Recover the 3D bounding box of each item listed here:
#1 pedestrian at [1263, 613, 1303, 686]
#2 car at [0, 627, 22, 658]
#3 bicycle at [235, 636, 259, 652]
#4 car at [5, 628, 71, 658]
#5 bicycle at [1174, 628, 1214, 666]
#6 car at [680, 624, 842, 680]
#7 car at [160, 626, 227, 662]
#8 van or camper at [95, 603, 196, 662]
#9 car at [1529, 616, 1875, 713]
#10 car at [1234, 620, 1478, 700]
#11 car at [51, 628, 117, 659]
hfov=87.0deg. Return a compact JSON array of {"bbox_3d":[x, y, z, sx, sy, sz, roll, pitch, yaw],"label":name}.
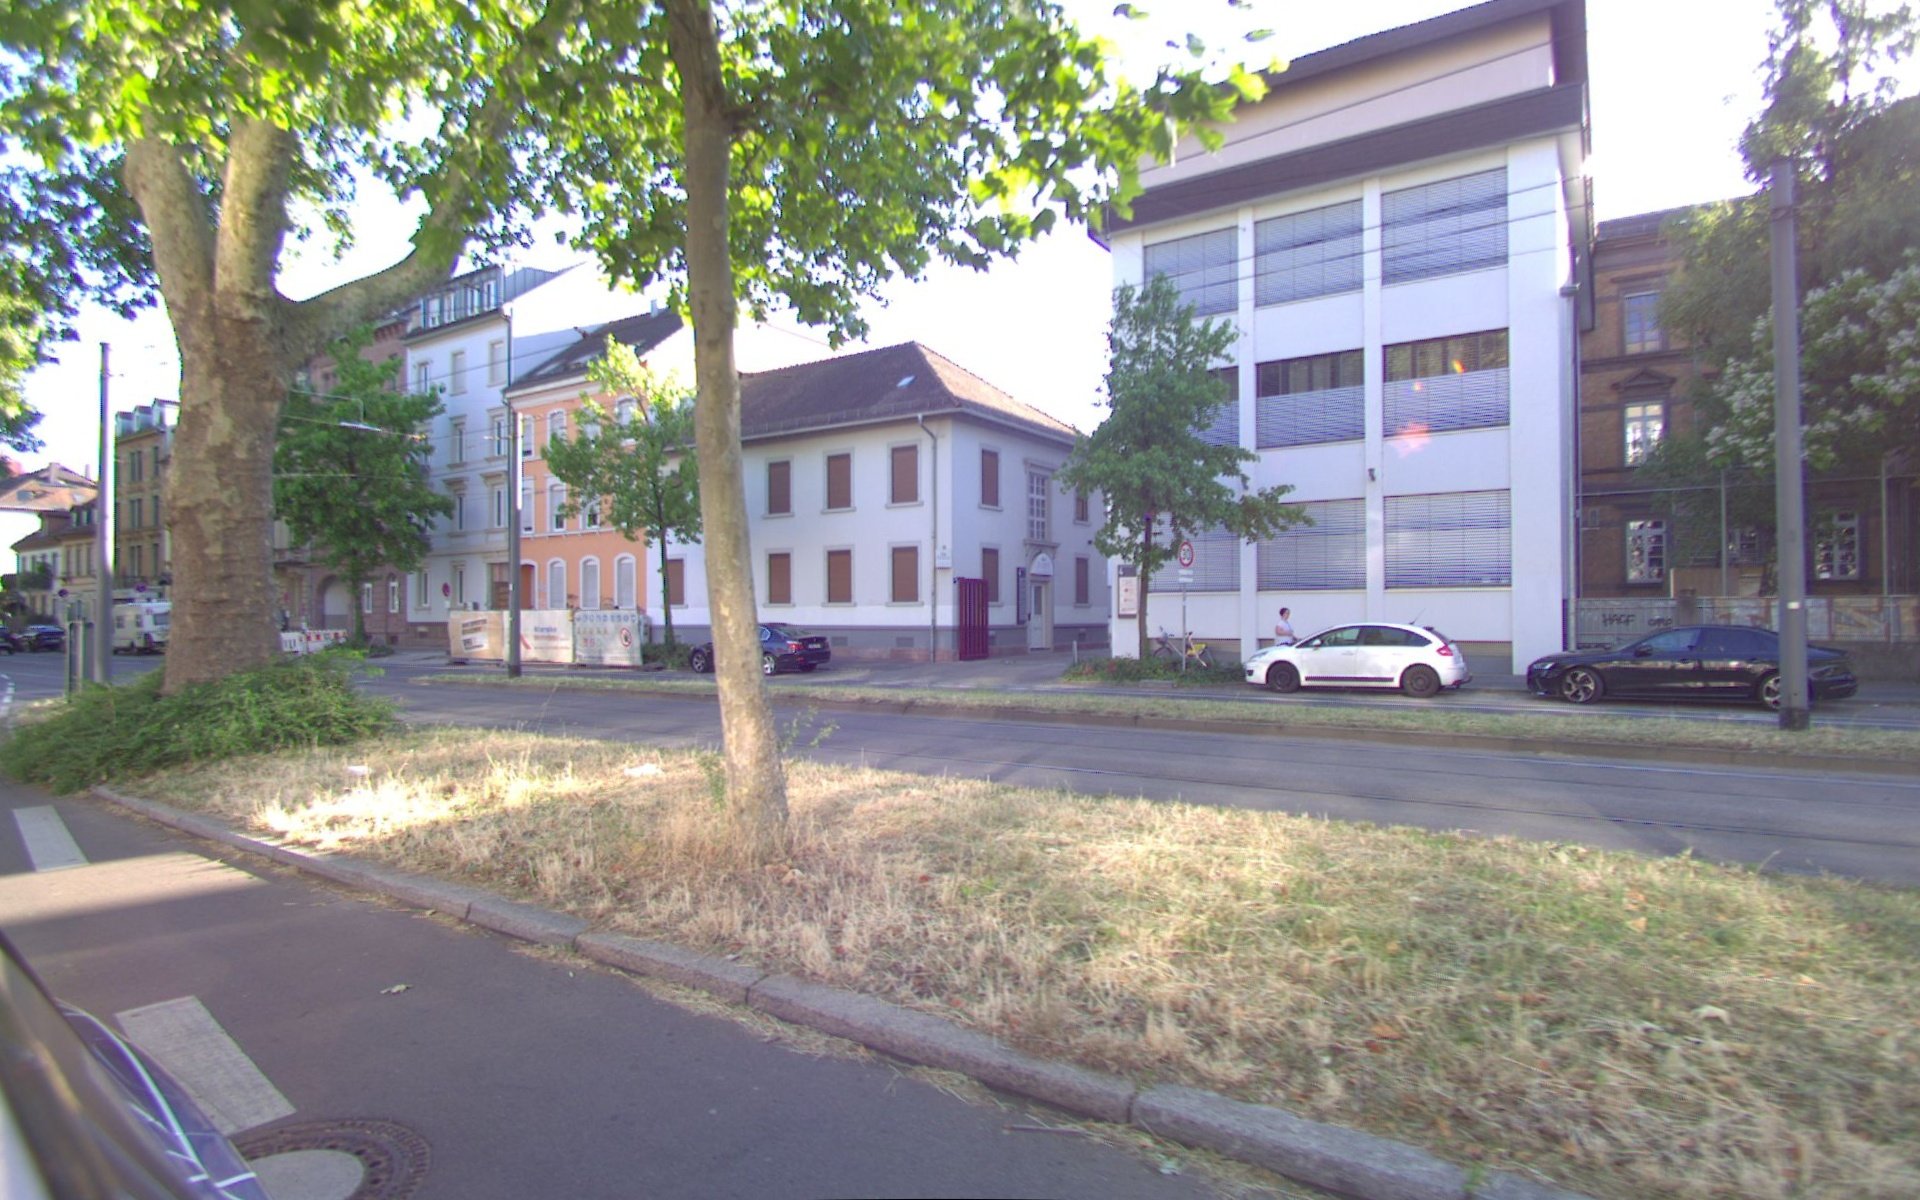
[{"bbox_3d":[7.415,1.116,23.214,0.729,1.633,0.630,-1,-1,32],"label":"pedestrian"},{"bbox_3d":[-54.517,2.363,56.593,4.296,1.702,1.978,-1,-2,33],"label":"car"},{"bbox_3d":[-40.874,2.514,57.988,1.788,0.931,0.573,-2,-2,37],"label":"bicycle"},{"bbox_3d":[-59.398,2.769,65.202,4.737,1.715,1.978,-1,2,33],"label":"car"},{"bbox_3d":[6.279,1.251,27.163,1.015,1.010,0.300,-1,-2,33],"label":"bicycle"},{"bbox_3d":[-5.950,1.492,30.031,4.712,1.525,1.977,-1,-2,34],"label":"car"},{"bbox_3d":[-39.783,2.251,52.542,3.359,1.718,1.619,-1,1,31],"label":"car"},{"bbox_3d":[-45.086,1.753,55.925,7.235,2.969,2.399,-1,2,36],"label":"van or camper"},{"bbox_3d":[12.688,1.056,17.731,4.635,1.487,1.978,-1,-2,33],"label":"car"},{"bbox_3d":[8.123,1.180,20.878,4.392,1.482,1.978,-1,-2,33],"label":"car"},{"bbox_3d":[-52.979,2.627,61.193,4.430,1.718,1.796,-1,2,33],"label":"car"}]
